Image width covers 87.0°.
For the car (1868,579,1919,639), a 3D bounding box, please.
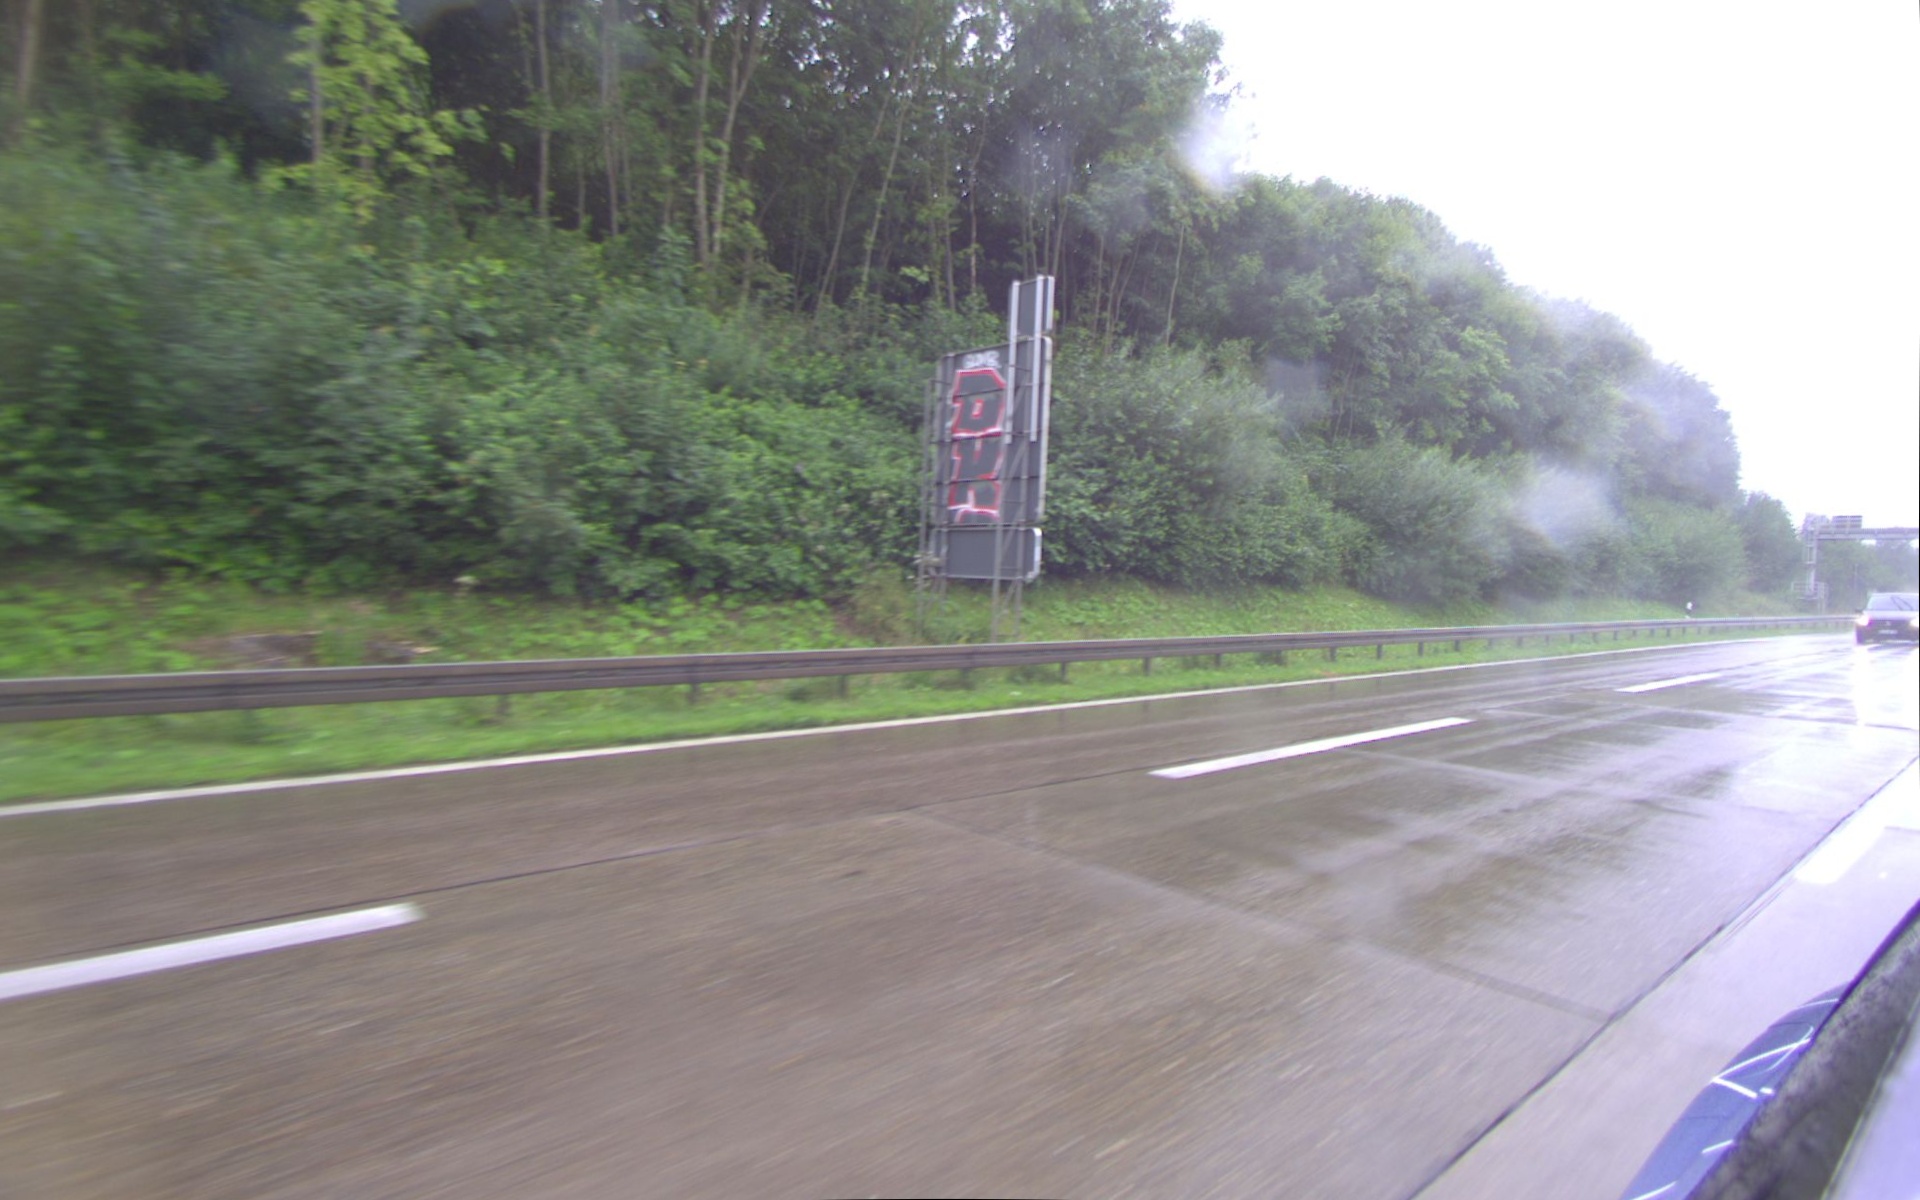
[{"bbox_3d":[34.350,0.305,36.421,3.927,2.039,1.859,0,1,-38],"label":"car"}]
